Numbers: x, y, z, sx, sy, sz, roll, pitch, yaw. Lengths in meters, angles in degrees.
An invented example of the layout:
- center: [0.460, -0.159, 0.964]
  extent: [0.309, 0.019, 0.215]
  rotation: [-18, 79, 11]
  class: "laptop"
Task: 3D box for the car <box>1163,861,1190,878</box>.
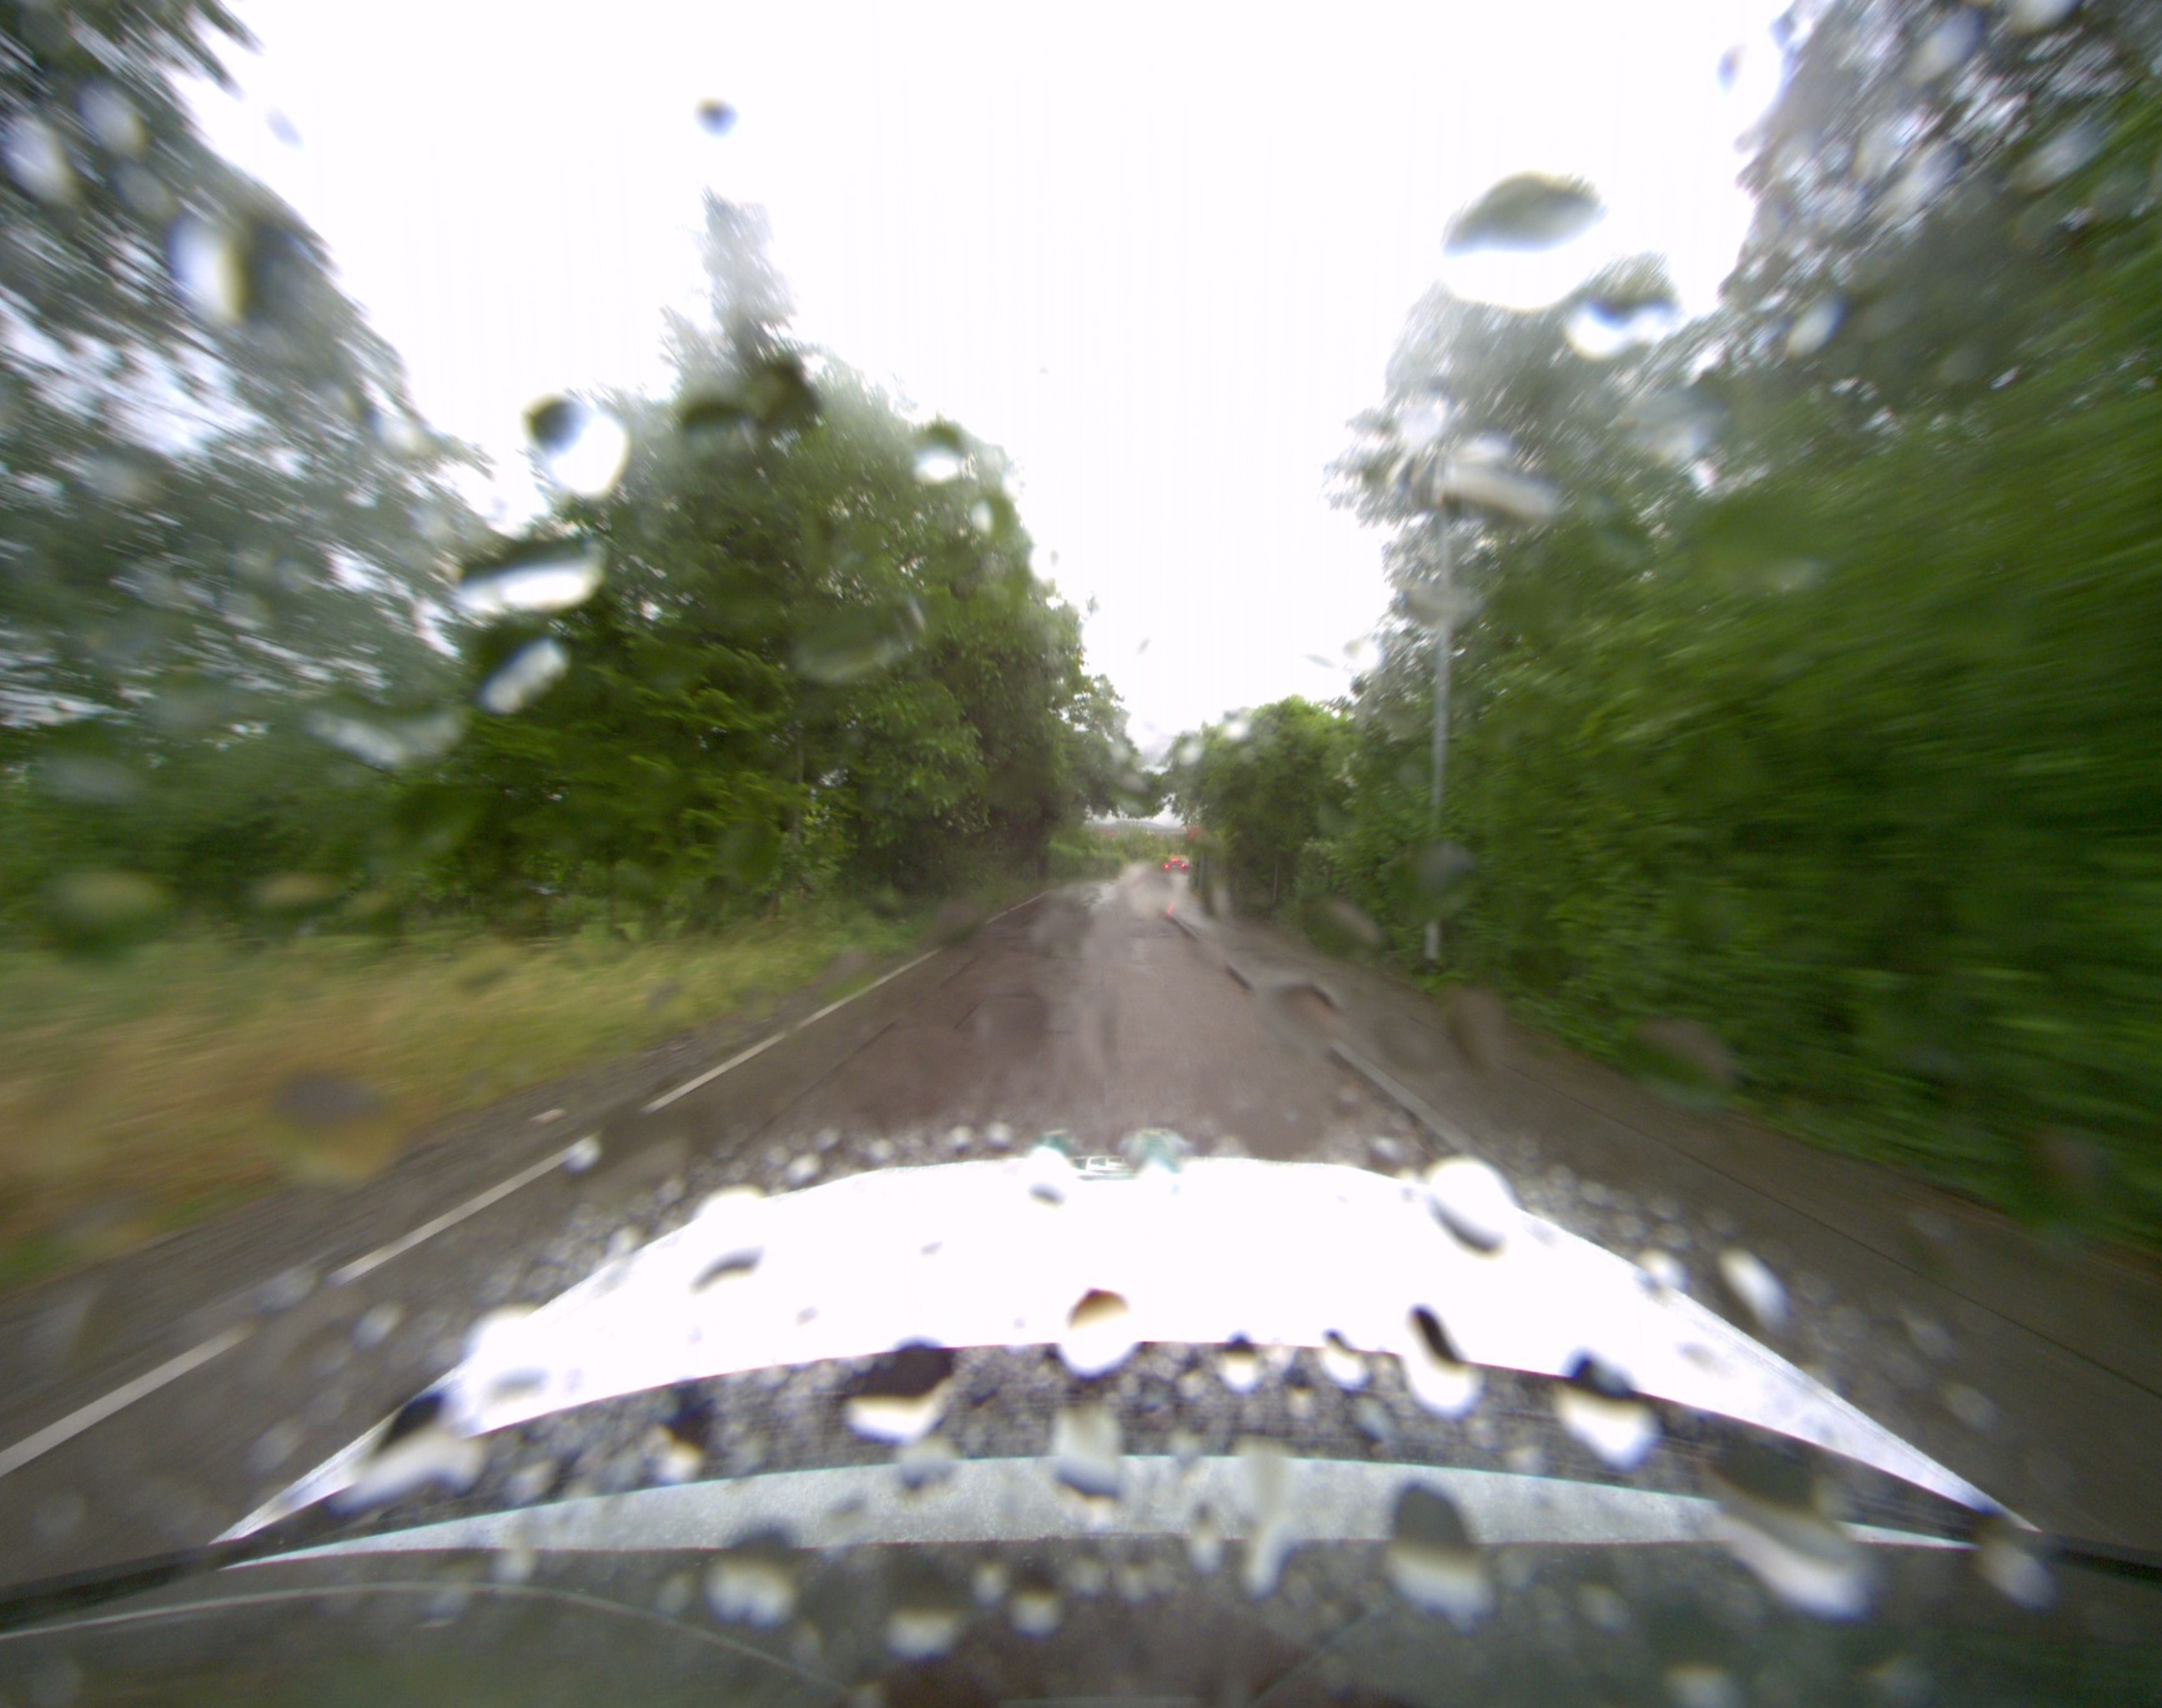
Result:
- center: [8.259, 1.353, 70.272]
  extent: [1.622, 1.450, 3.560]
  rotation: [0, -2, 18]
  class: "car"
